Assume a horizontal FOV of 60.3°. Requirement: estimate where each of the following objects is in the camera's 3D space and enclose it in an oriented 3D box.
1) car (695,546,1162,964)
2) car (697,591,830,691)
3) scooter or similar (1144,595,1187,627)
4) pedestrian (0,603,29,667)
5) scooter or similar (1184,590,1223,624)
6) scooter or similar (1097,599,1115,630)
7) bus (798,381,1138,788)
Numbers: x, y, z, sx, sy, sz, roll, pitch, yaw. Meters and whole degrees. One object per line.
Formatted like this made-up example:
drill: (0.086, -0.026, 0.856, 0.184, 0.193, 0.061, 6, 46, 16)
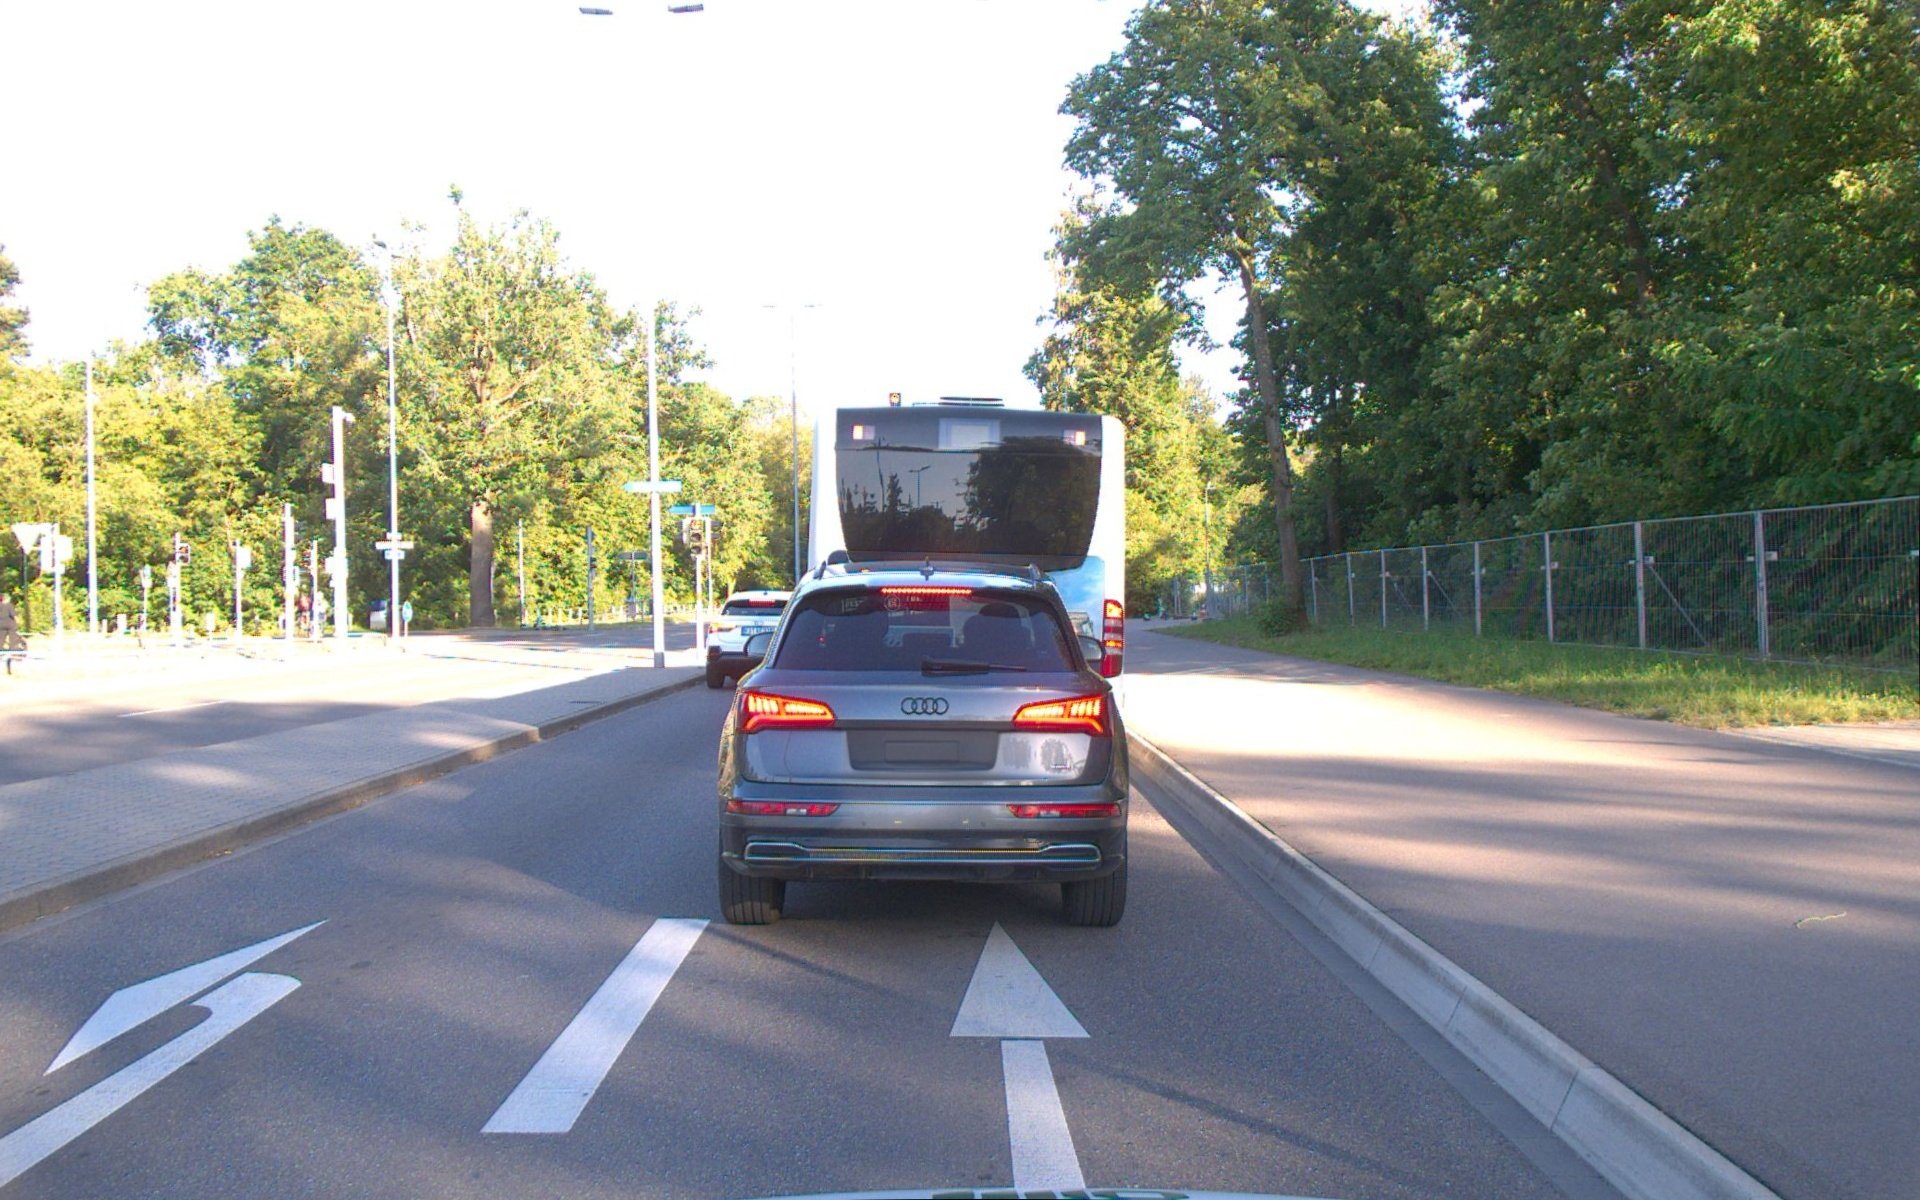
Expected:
car: (-0.152, 0.618, 8.635, 1.860, 1.660, 3.999, 1, 0, -1)
car: (-3.208, 0.630, 27.687, 1.799, 1.545, 3.999, -1, 0, -1)
scooter or similar: (9.741, 0.515, 78.350, 1.991, 1.469, 0.601, -2, 0, -26)
pedestrian: (-24.144, 0.882, 42.099, 0.643, 1.587, 0.531, -1, 0, -43)
scooter or similar: (11.734, 0.353, 79.676, 0.535, 1.594, 1.993, -2, 0, -40)
scooter or similar: (7.151, 0.701, 81.007, 0.498, 1.469, 2.020, -2, 0, -6)
bus: (0.000, -0.085, 17.090, 2.542, 3.041, 9.324, 0, 0, -1)
